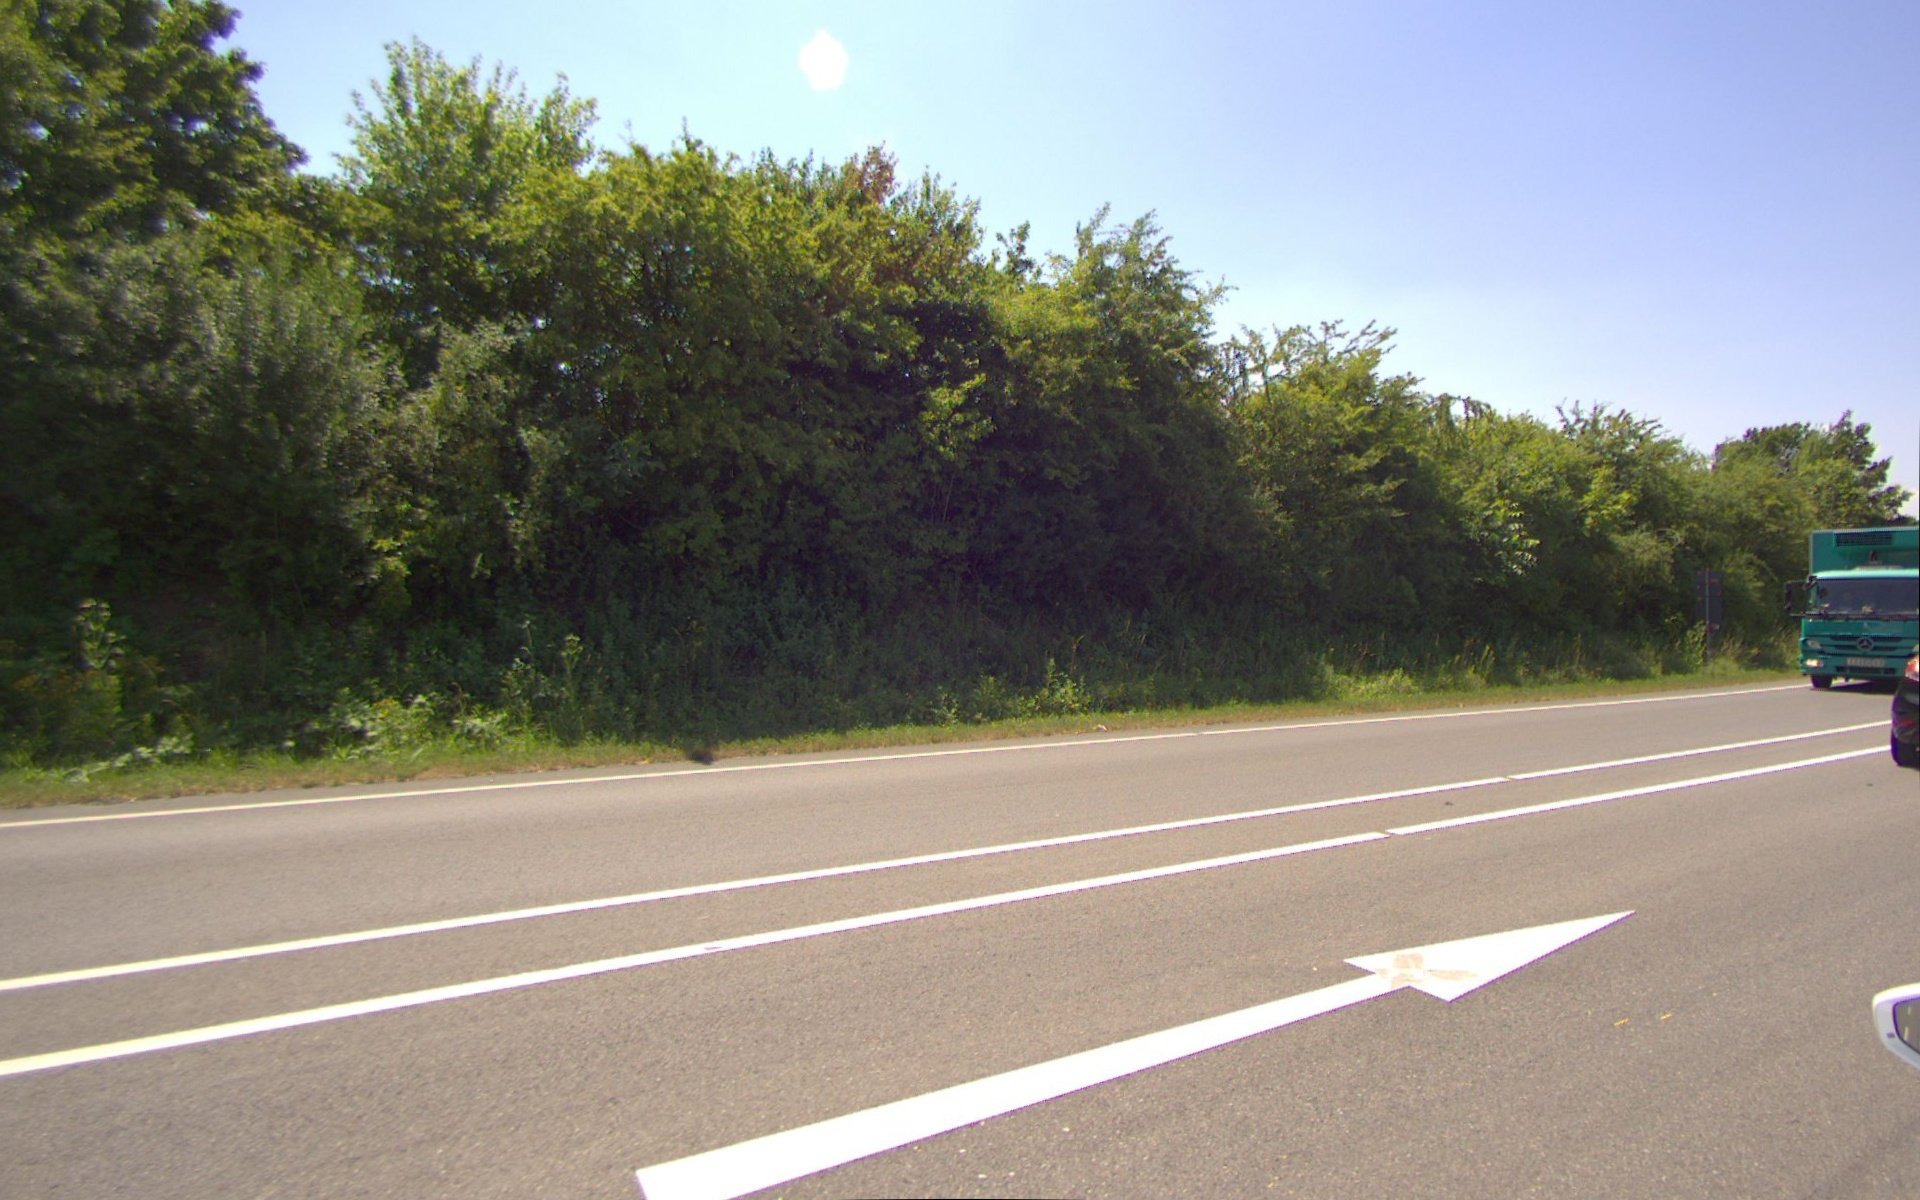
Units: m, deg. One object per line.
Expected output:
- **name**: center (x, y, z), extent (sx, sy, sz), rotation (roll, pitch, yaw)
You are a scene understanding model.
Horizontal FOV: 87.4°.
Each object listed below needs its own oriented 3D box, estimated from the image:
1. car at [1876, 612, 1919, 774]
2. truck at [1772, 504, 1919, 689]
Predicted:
- **car**: center (11.154, 0.894, 10.300), extent (4.163, 1.514, 1.643), rotation (-1, 2, -34)
- **truck**: center (21.928, -0.014, 23.209), extent (9.345, 3.622, 2.847), rotation (1, 0, -38)
